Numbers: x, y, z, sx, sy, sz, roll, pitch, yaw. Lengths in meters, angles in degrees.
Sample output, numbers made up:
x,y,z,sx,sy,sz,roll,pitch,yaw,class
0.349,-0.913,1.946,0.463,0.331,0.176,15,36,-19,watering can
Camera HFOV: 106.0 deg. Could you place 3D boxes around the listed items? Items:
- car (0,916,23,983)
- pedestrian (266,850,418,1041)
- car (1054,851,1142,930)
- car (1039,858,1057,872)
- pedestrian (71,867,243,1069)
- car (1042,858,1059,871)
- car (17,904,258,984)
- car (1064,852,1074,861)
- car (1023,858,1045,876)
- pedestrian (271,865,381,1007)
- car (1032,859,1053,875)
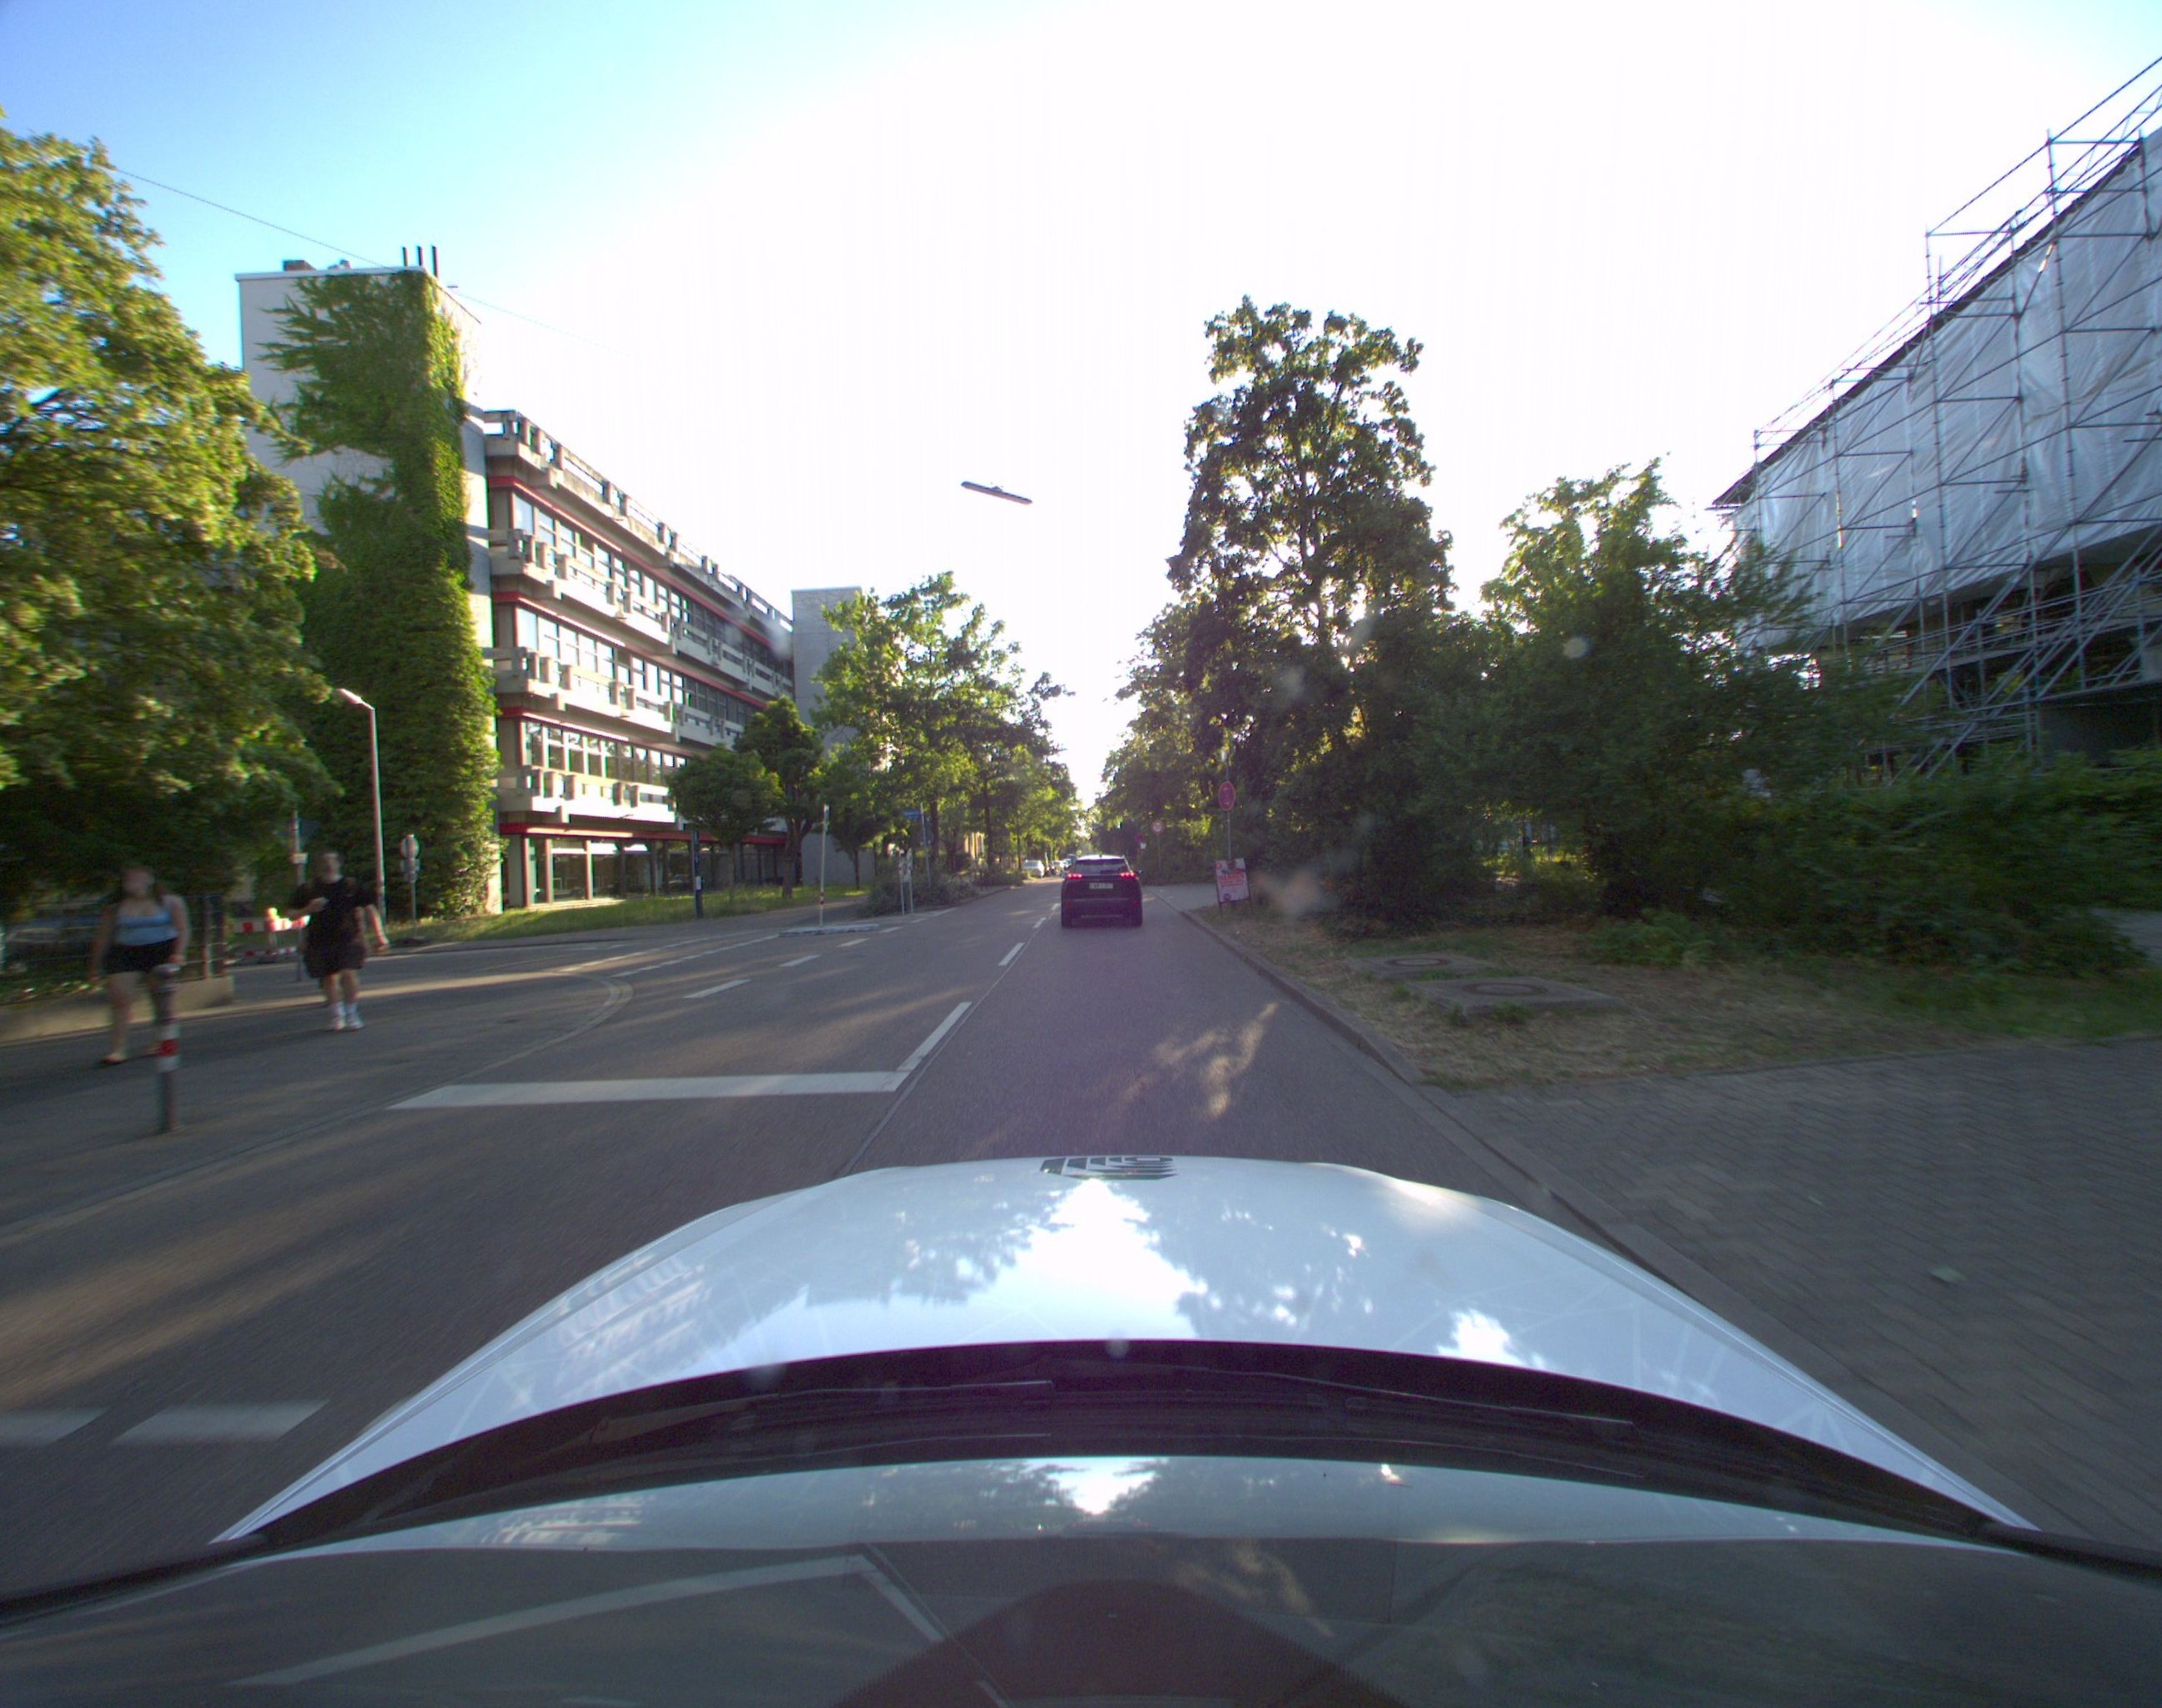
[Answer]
x,y,z,sx,sy,sz,roll,pitch,yaw,class
-25.657,2.228,17.642,3.263,1.457,1.370,-3,-2,-8,car
-7.711,0.898,8.561,0.823,1.823,0.950,-3,0,-22,pedestrian
0.404,0.747,18.614,1.761,1.568,3.382,-2,0,1,car
-3.499,1.196,87.041,1.806,1.354,3.997,-3,0,-2,car
-8.292,0.975,7.349,0.716,1.662,0.702,-3,0,-22,pedestrian
-3.481,1.182,92.762,1.806,1.354,3.997,-3,0,-2,car
-21.467,2.017,18.666,3.263,1.457,1.680,-3,-2,-8,car
-2.567,0.555,174.595,1.900,1.867,3.950,-3,0,1,car
-4.015,1.056,69.467,1.807,1.354,3.995,-3,0,-4,car
-9.520,0.995,10.300,0.716,1.662,0.761,-3,0,-22,pedestrian
-3.539,1.167,75.707,1.806,1.354,3.997,-3,0,-2,car
